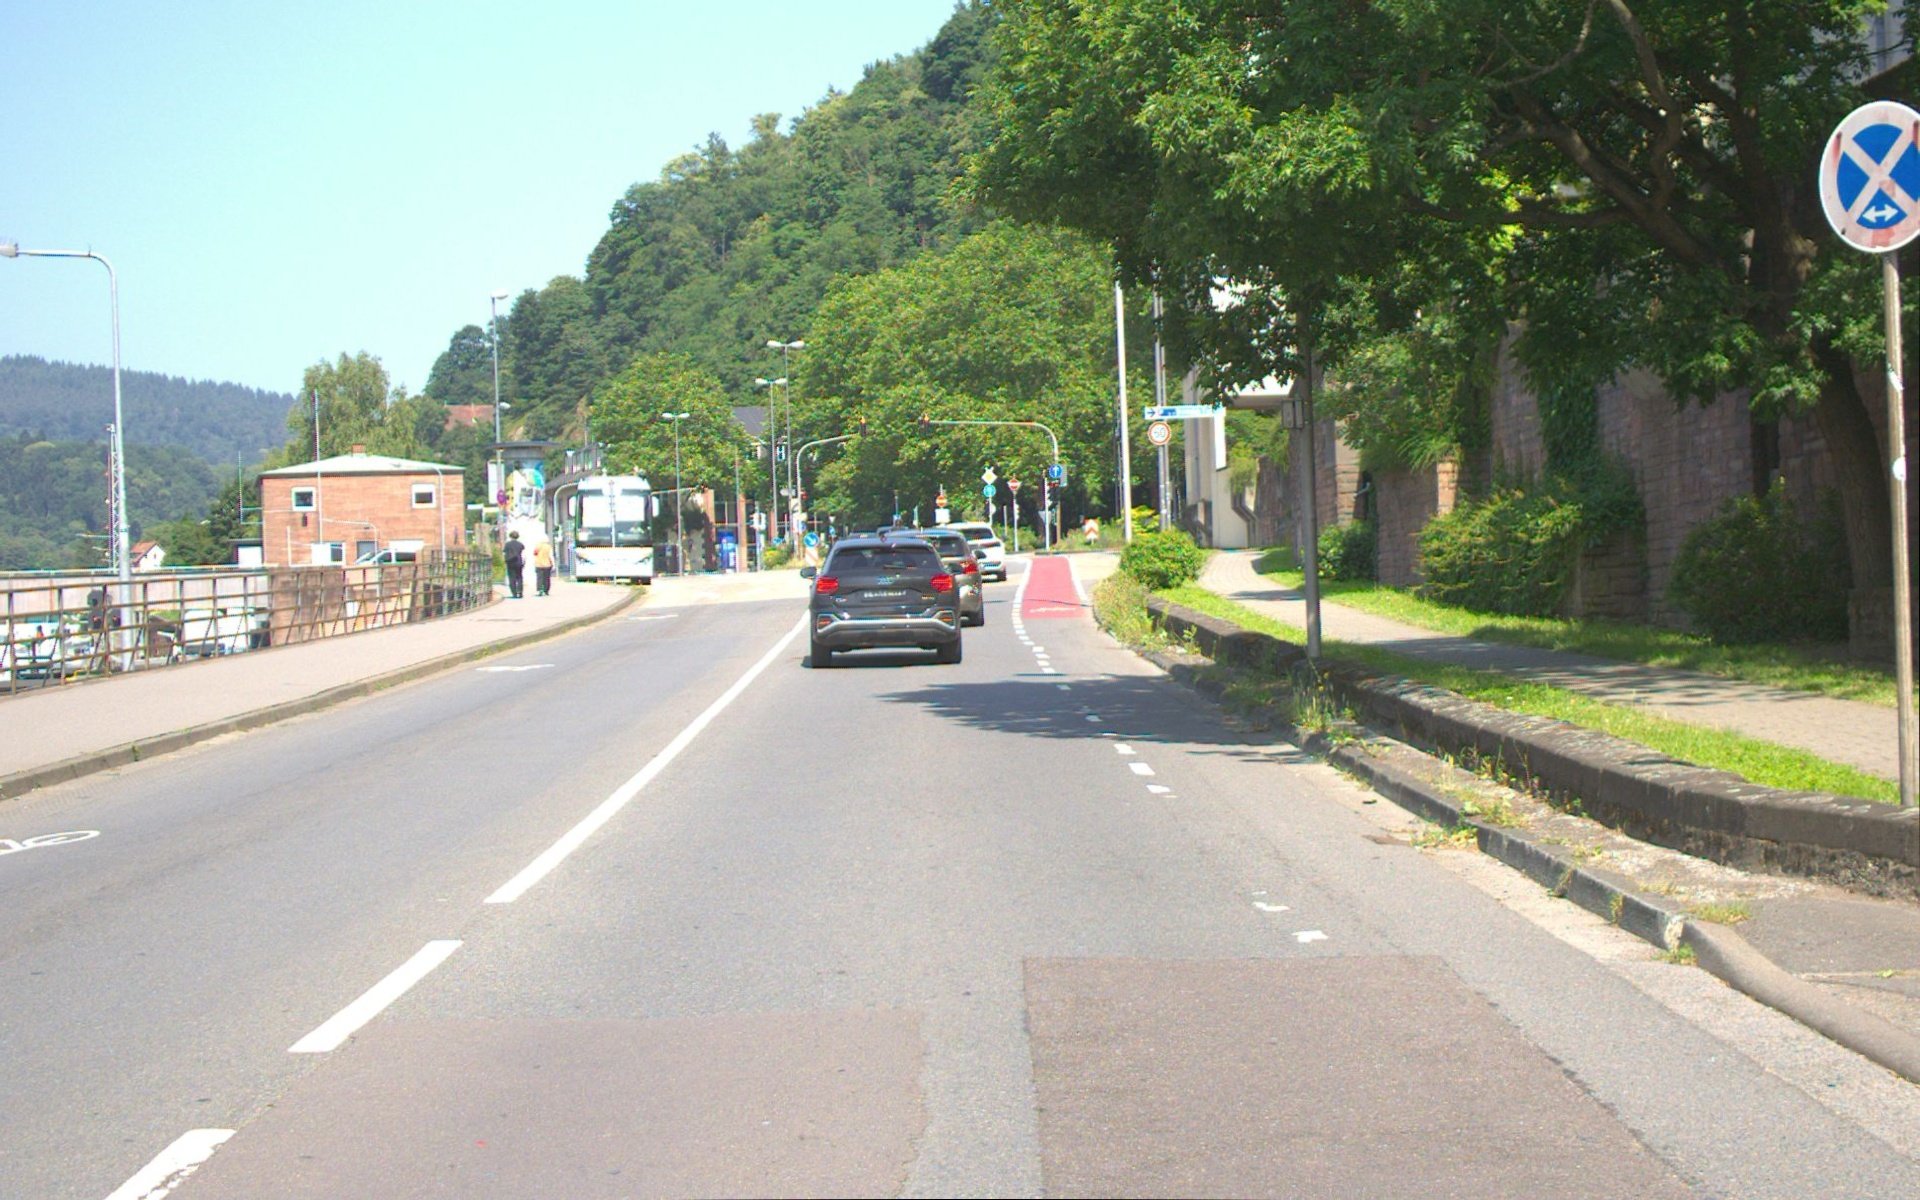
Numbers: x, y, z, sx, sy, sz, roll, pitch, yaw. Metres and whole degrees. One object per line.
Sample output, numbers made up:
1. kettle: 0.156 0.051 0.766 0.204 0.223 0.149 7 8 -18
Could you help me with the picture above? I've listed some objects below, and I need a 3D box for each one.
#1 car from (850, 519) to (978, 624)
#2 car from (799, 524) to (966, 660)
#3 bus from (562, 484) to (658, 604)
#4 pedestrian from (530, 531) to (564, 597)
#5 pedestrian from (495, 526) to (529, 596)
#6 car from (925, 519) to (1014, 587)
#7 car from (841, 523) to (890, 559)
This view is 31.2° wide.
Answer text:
1. car: -0.719 -0.463 54.230 1.888 1.516 4.306 -2 1 -1
2. car: -0.913 -0.124 41.385 1.869 1.508 4.151 -2 1 -1
3. bus: -12.094 -1.896 118.763 2.956 3.787 13.246 -2 1 -6
4. pedestrian: -10.434 -0.911 86.867 0.702 1.615 0.817 -2 1 -2
5. pedestrian: -11.018 -0.959 84.565 0.683 1.703 0.773 -2 1 -1
6. car: 0.195 -1.106 80.715 1.993 1.528 4.859 -1 1 -1
7. car: -3.995 -2.483 144.118 1.866 1.354 4.001 -3 1 -3
